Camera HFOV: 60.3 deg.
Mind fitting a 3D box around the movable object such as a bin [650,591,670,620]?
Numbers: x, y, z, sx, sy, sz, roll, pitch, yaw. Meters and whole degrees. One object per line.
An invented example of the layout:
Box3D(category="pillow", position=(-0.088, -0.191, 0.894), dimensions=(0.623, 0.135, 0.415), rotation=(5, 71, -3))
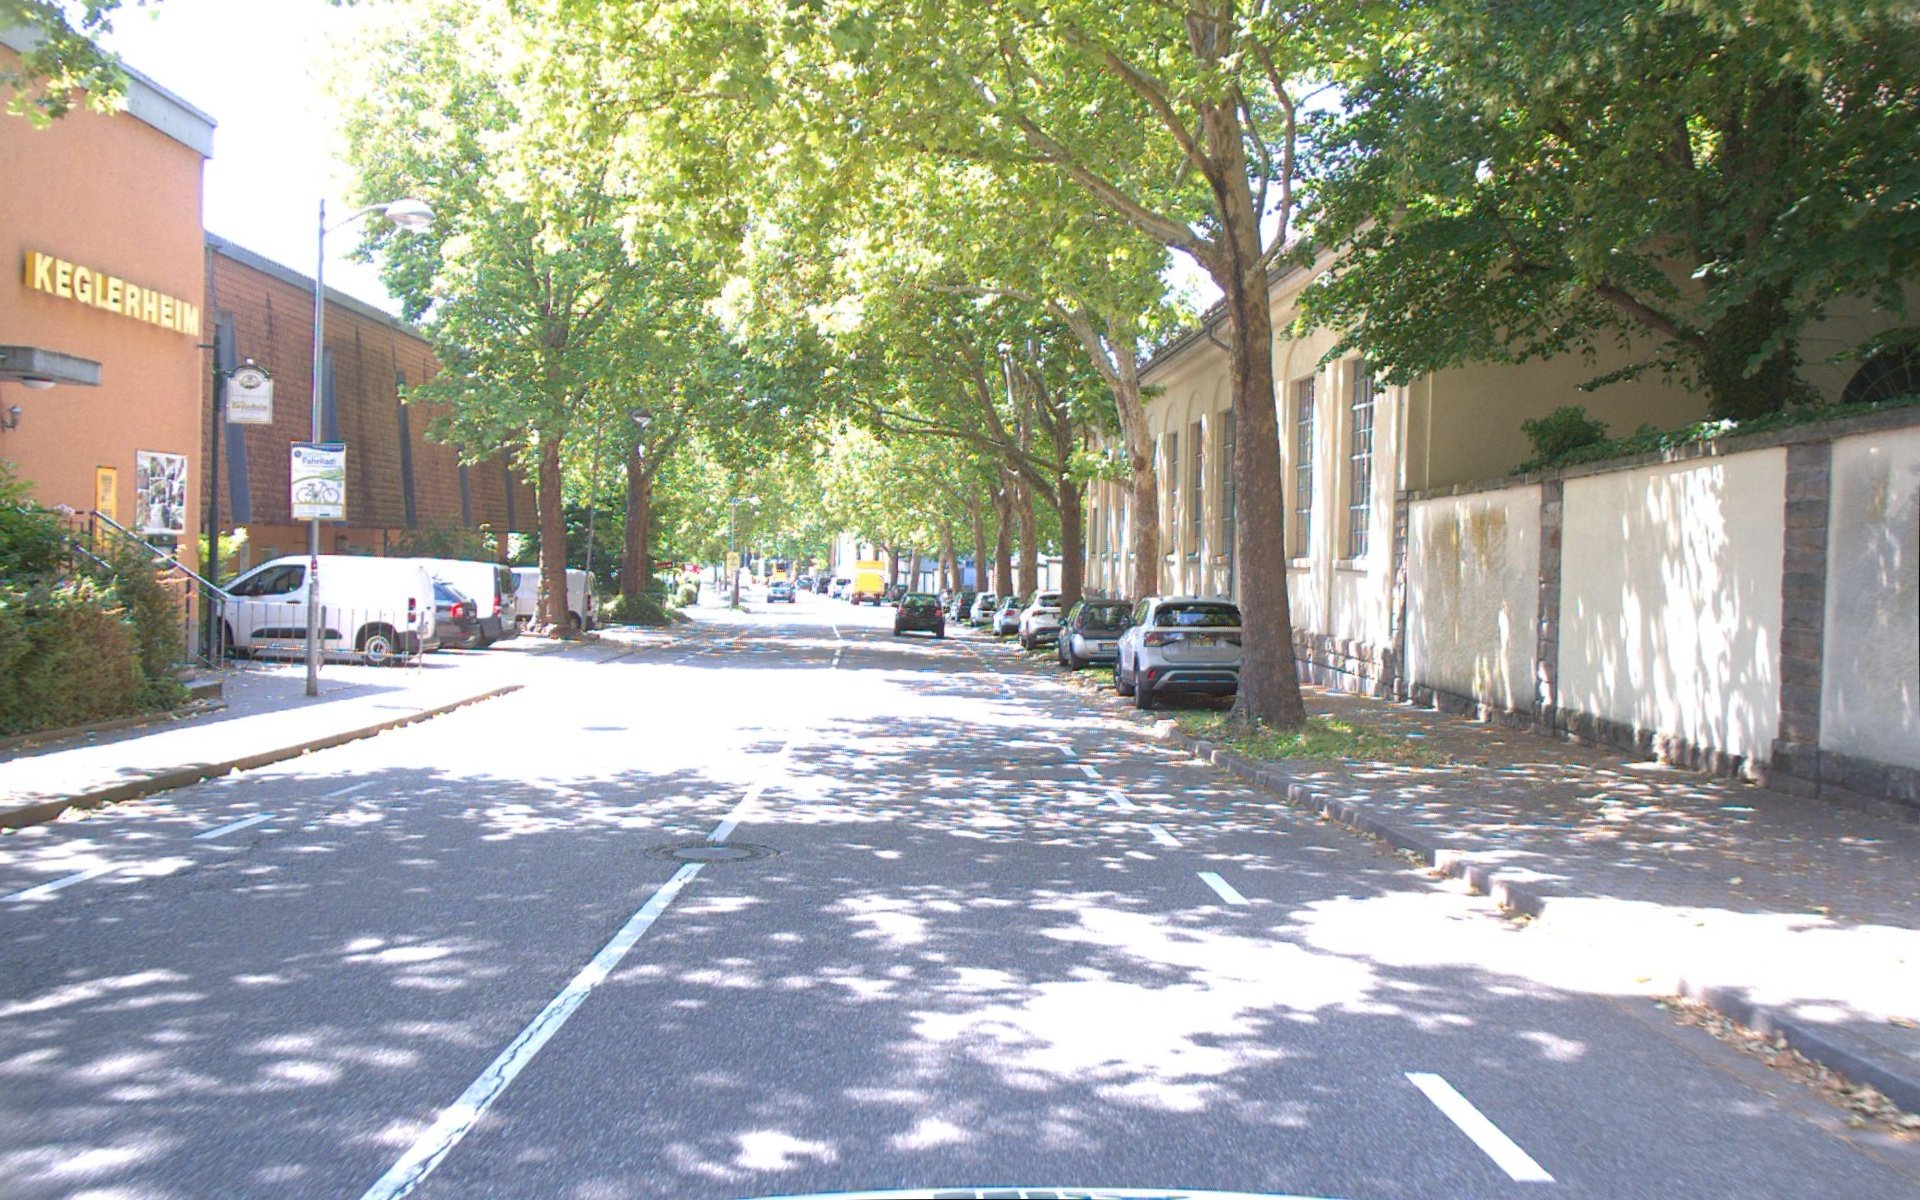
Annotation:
Box3D(category="movable object such as a bin", position=(-11.300, 0.196, 62.288), dimensions=(0.611, 1.066, 0.620), rotation=(2, 0, 0))

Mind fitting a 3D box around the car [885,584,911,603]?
Box3D(category="car", position=(-4.949, -0.517, 130.897), dimensions=(1.733, 1.398, 3.724), rotation=(2, 0, -7))

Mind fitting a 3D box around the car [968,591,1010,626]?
Box3D(category="car", position=(1.273, 0.374, 73.225), dimensions=(1.546, 1.491, 3.873), rotation=(1, 0, -4))

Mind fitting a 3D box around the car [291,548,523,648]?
Box3D(category="car", position=(-11.913, -0.033, 35.872), dimensions=(4.337, 1.835, 1.901), rotation=(4, 0, -5))

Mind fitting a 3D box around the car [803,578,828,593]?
Box3D(category="car", position=(-13.490, -1.319, 154.129), dimensions=(1.737, 1.398, 3.715), rotation=(0, 0, -15))

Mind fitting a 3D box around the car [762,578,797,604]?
Box3D(category="car", position=(-12.879, -0.636, 118.360), dimensions=(1.952, 1.695, 4.000), rotation=(2, -1, 1))

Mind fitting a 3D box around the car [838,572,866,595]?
Box3D(category="car", position=(-8.651, -1.295, 132.103), dimensions=(1.845, 1.715, 3.991), rotation=(2, -1, -9))

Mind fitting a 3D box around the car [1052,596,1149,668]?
Box3D(category="car", position=(3.025, 0.664, 36.336), dimensions=(1.588, 1.465, 4.431), rotation=(0, 0, -2))

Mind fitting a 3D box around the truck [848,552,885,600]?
Box3D(category="truck", position=(-6.744, -1.680, 118.254), dimensions=(2.325, 3.189, 5.761), rotation=(2, -1, -6))

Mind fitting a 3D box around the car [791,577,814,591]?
Box3D(category="car", position=(-15.900, -1.578, 166.811), dimensions=(1.737, 1.398, 3.716), rotation=(0, 0, -14))

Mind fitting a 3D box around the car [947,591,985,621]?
Box3D(category="car", position=(0.286, 0.306, 85.764), dimensions=(1.731, 1.491, 3.873), rotation=(1, 0, -4))

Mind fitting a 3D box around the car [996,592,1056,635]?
Box3D(category="car", position=(2.319, 0.451, 58.915), dimensions=(1.731, 1.458, 3.873), rotation=(1, 0, -4))

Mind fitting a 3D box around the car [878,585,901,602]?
Box3D(category="car", position=(-6.157, -0.552, 143.795), dimensions=(1.733, 1.398, 3.724), rotation=(1, 0, -7))

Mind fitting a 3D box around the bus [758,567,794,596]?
Box3D(category="bus", position=(-21.550, -2.093, 192.894), dimensions=(2.619, 3.205, 11.155), rotation=(1, 0, -14))

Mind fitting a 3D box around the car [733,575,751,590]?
Box3D(category="car", position=(-21.672, -1.727, 164.561), dimensions=(1.678, 1.473, 4.051), rotation=(1, 0, -7))

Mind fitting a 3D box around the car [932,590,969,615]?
Box3D(category="car", position=(-0.545, 0.145, 95.378), dimensions=(1.733, 1.398, 3.724), rotation=(1, 0, -7))

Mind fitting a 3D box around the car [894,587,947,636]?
Box3D(category="car", position=(-1.383, 0.359, 56.181), dimensions=(1.677, 1.472, 4.056), rotation=(1, 2, -3))

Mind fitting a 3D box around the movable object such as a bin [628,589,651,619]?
Box3D(category="movable object such as a bin", position=(-12.030, 0.151, 62.178), dimensions=(0.720, 1.097, 0.701), rotation=(2, 0, -3))

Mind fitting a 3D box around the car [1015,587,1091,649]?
Box3D(category="car", position=(2.650, 0.483, 48.264), dimensions=(1.771, 1.718, 4.750), rotation=(0, 0, -2))

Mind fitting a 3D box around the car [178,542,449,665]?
Box3D(category="car", position=(-11.172, 0.063, 28.799), dimensions=(3.910, 1.824, 1.866), rotation=(4, 0, -5))

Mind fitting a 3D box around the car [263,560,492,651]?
Box3D(category="car", position=(-11.655, 0.117, 33.326), dimensions=(3.910, 1.541, 1.866), rotation=(4, 0, -5))

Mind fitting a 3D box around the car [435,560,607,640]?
Box3D(category="car", position=(-11.637, -0.001, 44.028), dimensions=(4.048, 1.835, 1.901), rotation=(4, 0, -5))

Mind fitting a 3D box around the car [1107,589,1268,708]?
Box3D(category="car", position=(3.301, 0.643, 24.856), dimensions=(1.705, 1.584, 4.779), rotation=(0, 1, -1))

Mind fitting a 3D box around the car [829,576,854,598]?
Box3D(category="car", position=(-10.063, -1.080, 140.415), dimensions=(1.843, 1.715, 3.994), rotation=(2, -1, -7))
